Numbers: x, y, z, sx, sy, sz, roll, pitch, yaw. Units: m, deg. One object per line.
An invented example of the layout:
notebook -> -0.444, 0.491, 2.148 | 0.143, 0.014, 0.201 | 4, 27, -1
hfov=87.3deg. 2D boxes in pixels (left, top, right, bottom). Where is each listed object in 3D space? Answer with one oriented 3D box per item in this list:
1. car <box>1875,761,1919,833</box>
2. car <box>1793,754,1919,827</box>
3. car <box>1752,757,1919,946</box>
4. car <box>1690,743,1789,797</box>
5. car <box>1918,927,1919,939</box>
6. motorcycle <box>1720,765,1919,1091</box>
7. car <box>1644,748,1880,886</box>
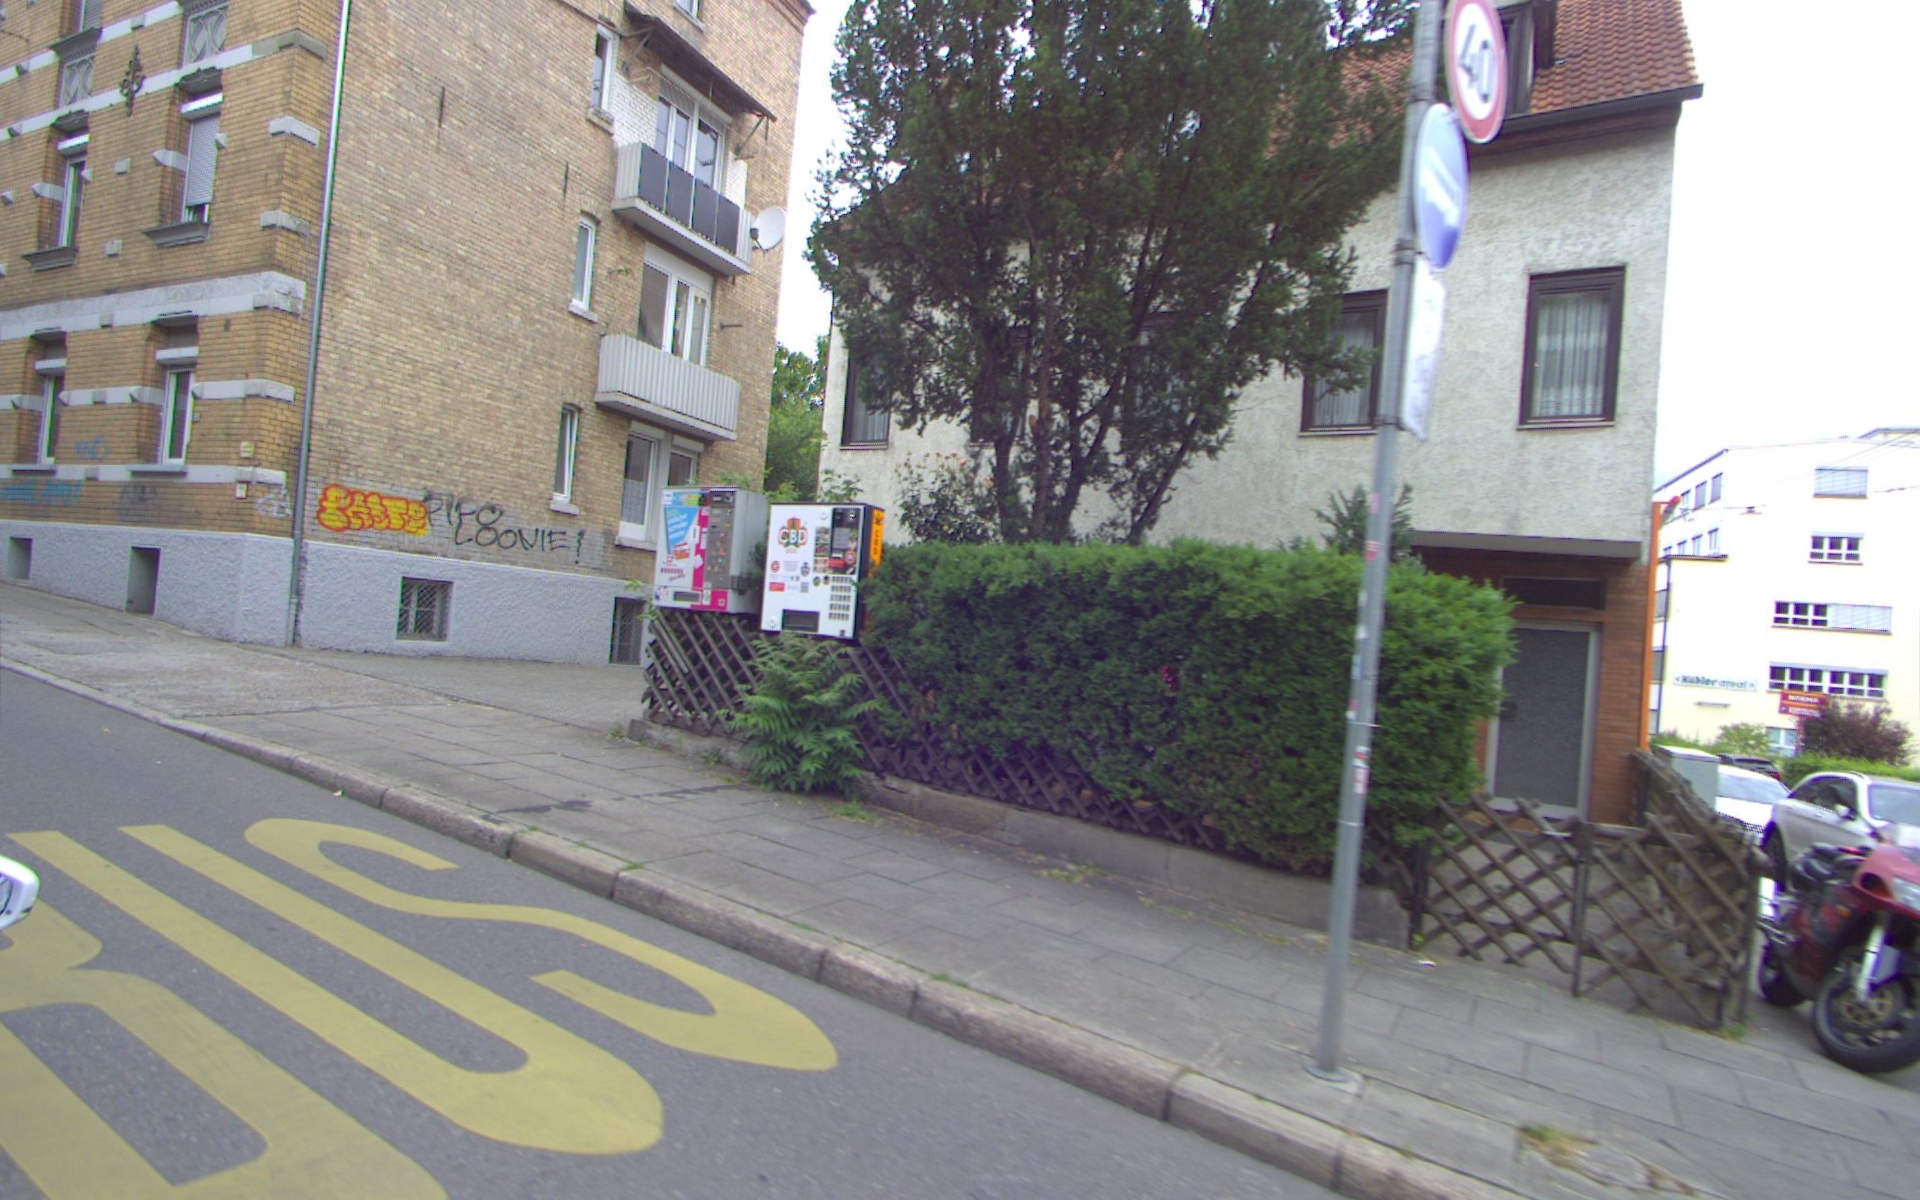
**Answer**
car -> 24.064, 4.875, 24.057 | 1.773, 1.586, 3.984 | 2, -4, 20
car -> 26.298, 5.497, 29.339 | 1.773, 1.586, 3.984 | 2, -4, 20
car -> 10.951, 2.875, 11.504 | 1.842, 1.682, 4.317 | 9, -3, 25
car -> 29.552, 6.412, 38.253 | 1.773, 1.586, 3.984 | 2, -4, 20
car -> 8.611, 2.387, 6.896 | 1.752, 1.300, 4.135 | 11, 0, 29
motorcycle -> 4.904, 1.641, 5.256 | 0.992, 1.282, 2.062 | 7, -2, 27
car -> 13.368, 3.527, 17.118 | 1.761, 1.470, 4.317 | 9, -1, 22
